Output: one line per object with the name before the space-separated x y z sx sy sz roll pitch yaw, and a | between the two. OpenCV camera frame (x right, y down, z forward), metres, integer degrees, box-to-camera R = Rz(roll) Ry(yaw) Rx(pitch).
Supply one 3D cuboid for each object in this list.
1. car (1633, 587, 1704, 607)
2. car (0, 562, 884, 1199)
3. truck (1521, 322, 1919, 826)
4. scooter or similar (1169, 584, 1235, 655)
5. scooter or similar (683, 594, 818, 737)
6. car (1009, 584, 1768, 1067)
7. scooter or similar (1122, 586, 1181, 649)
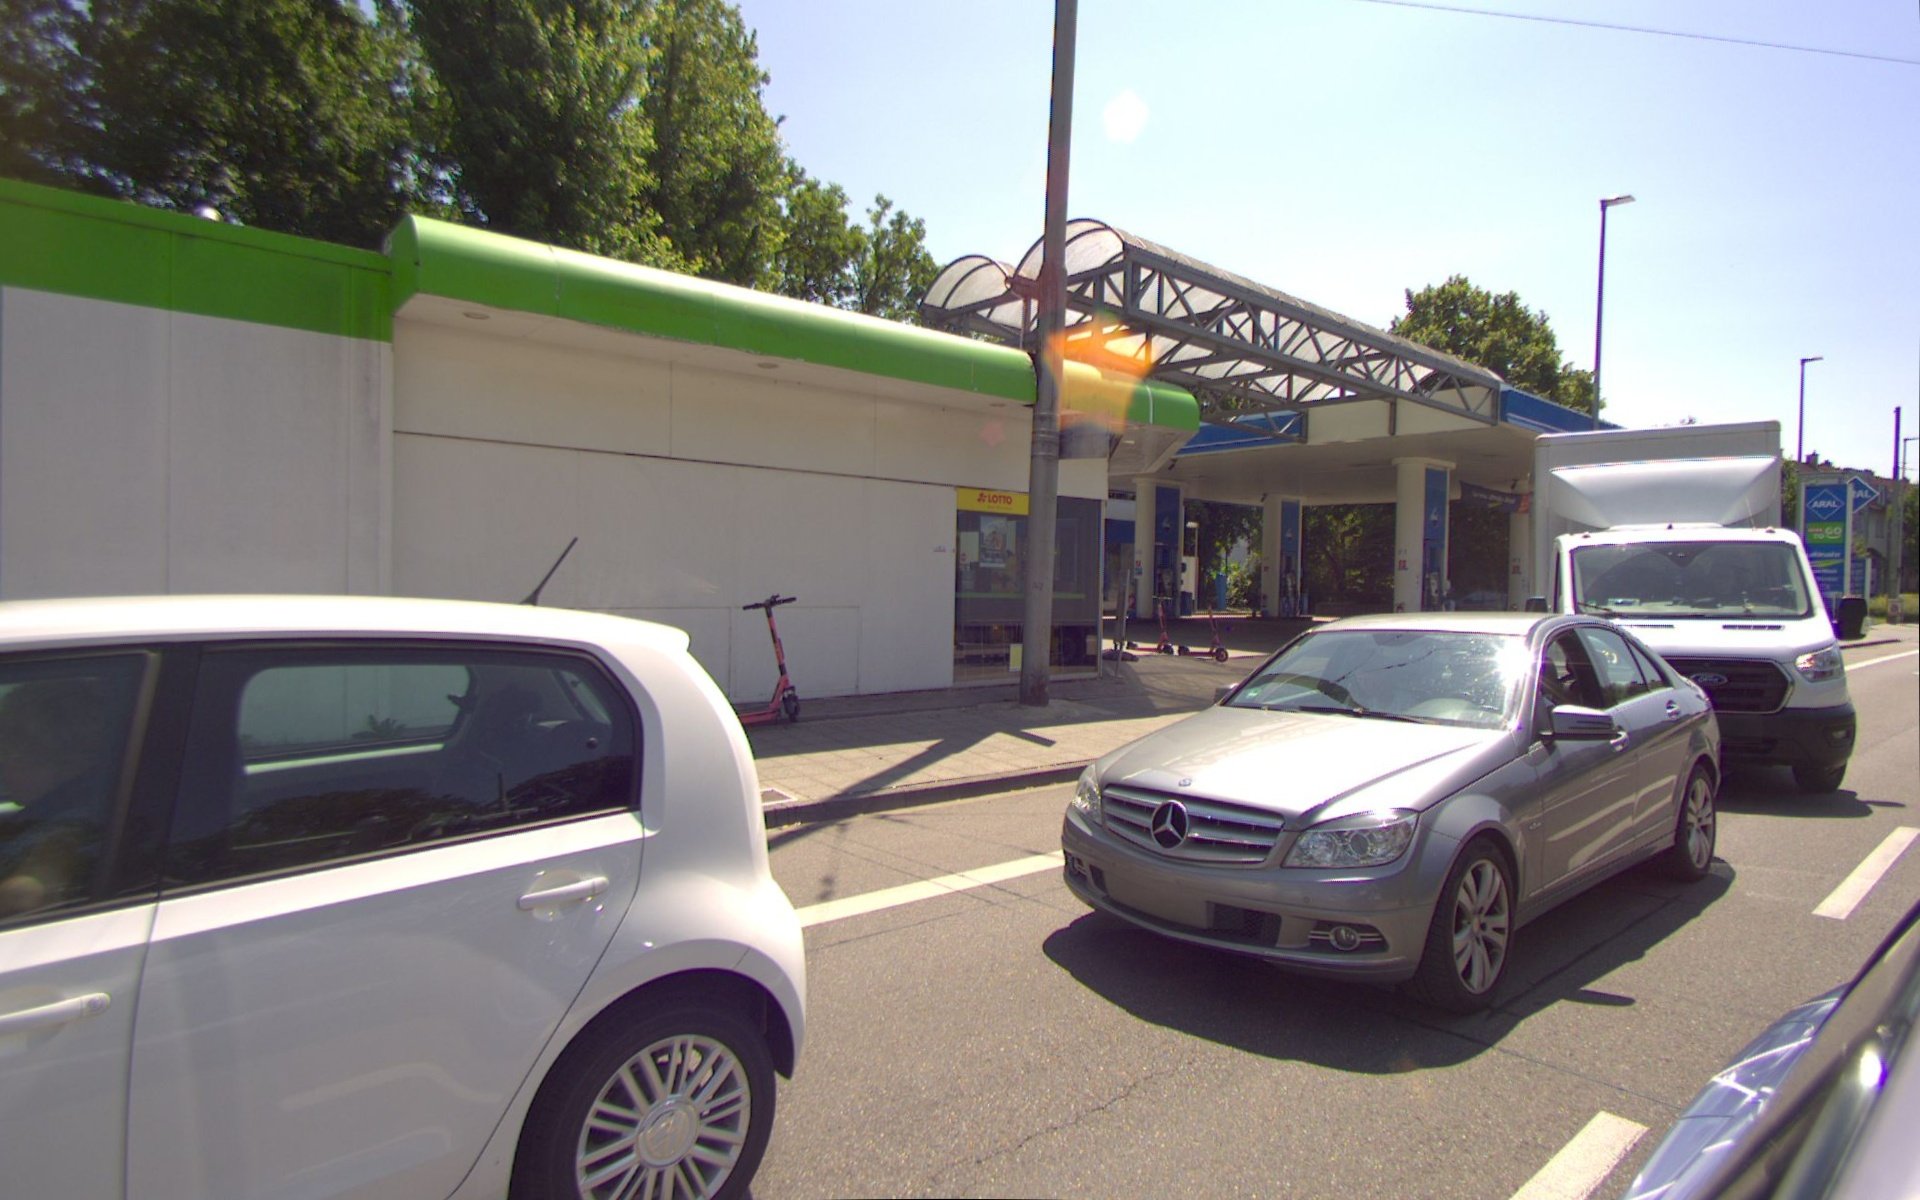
car | 56.834 -0.271 81.280 1.961 1.540 4.230 0 1 -32
car | -2.038 0.657 2.088 3.458 1.469 1.610 0 1 -40
truck | 7.446 -0.256 10.865 2.407 3.434 7.752 1 1 29
scooter or similar | 4.493 0.347 18.802 0.404 1.256 1.176 0 1 -39
scooter or similar | -1.894 0.561 9.181 1.117 1.209 0.384 0 4 -36
car | 2.461 0.682 5.210 4.339 1.467 1.800 0 1 -40
scooter or similar | 3.728 0.325 19.719 0.377 1.191 1.138 0 1 -39
